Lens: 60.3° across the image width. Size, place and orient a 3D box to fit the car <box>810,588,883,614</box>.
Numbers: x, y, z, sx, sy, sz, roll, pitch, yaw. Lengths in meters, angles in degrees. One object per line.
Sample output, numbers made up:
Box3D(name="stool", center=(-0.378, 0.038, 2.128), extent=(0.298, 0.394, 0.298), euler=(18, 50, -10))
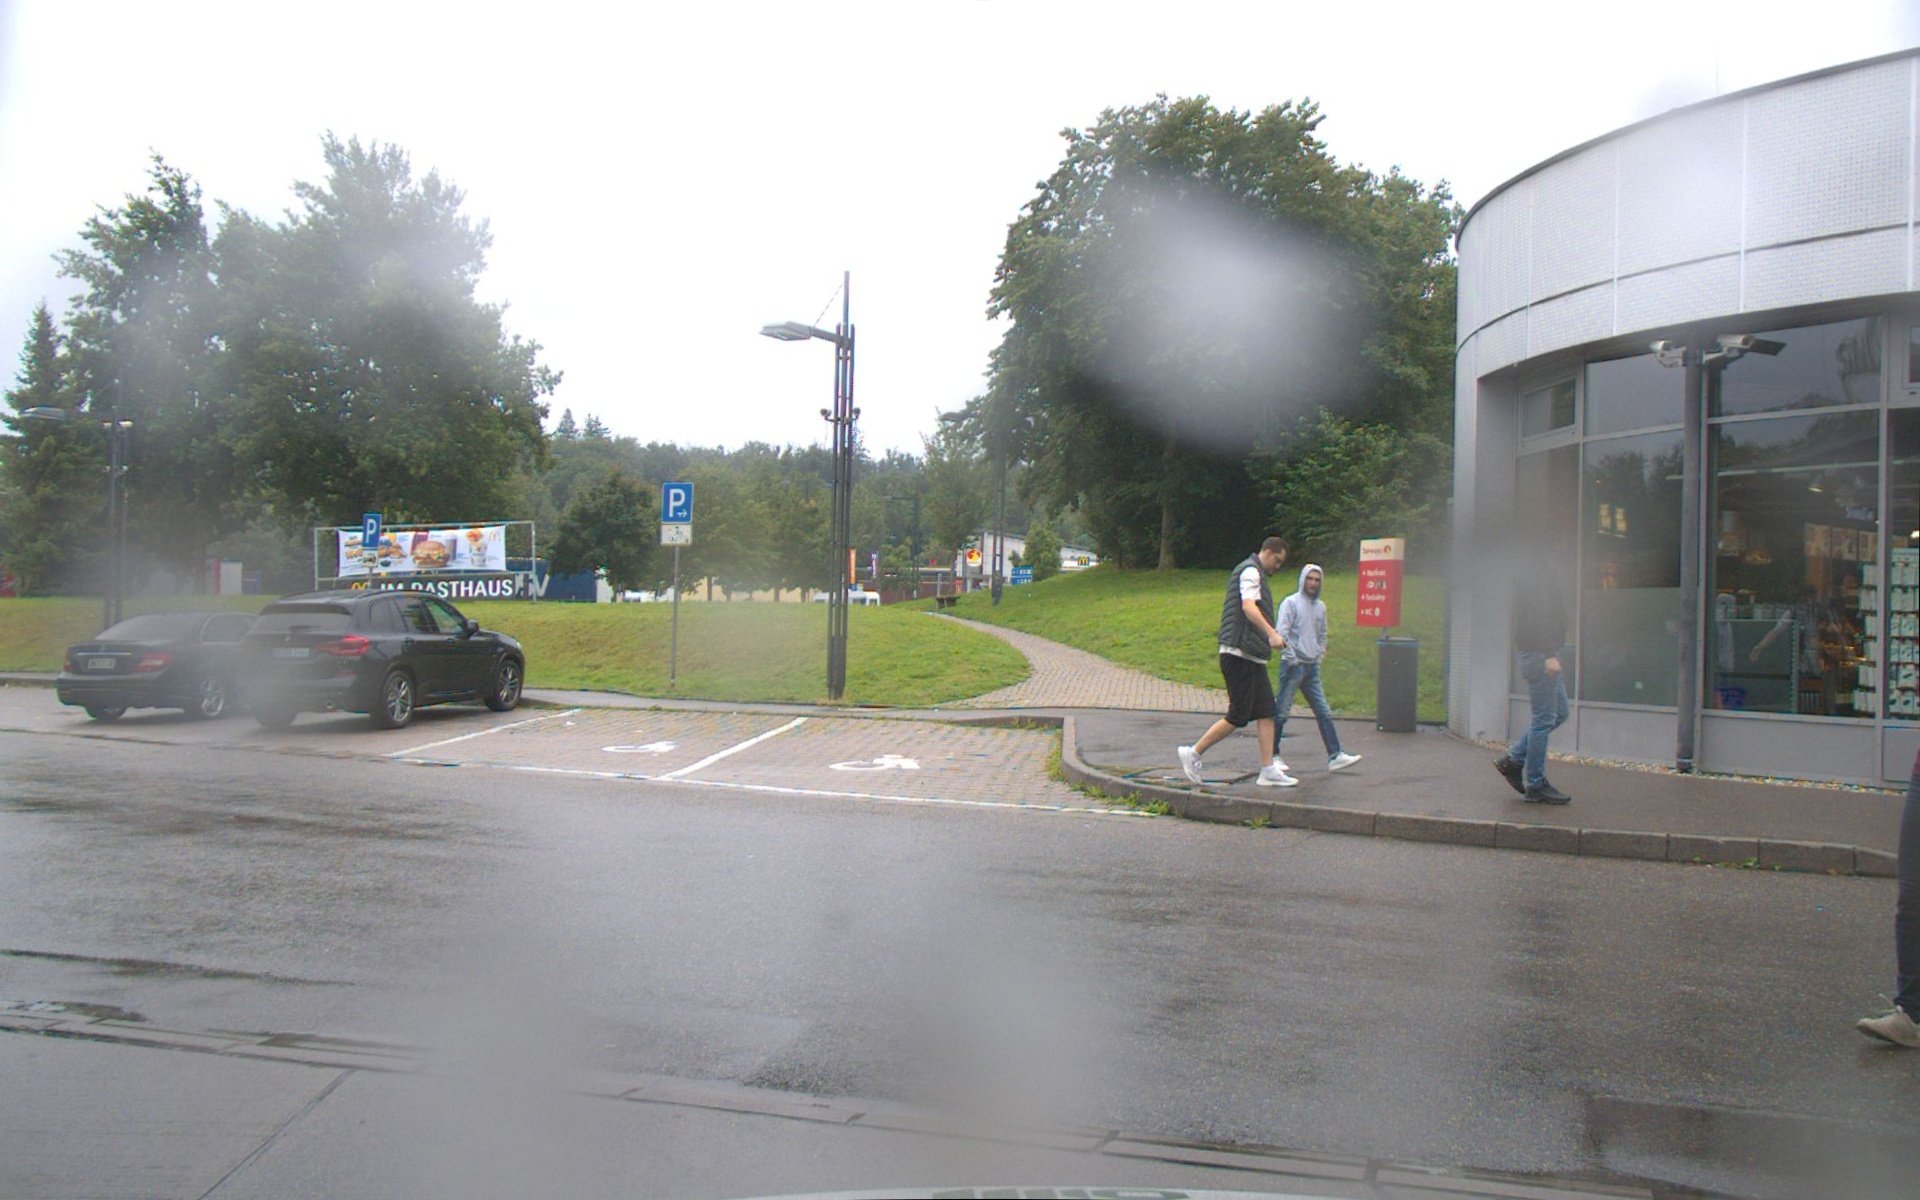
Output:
Box3D(name="car", center=(-9.145, 0.062, 133.653), extent=(5.310, 2.049, 2.456), euler=(1, 0, 19))

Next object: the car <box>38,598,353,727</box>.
Box3D(name="car", center=(-10.352, 0.780, 22.783), extent=(1.844, 1.592, 4.189), euler=(0, 0, 11))

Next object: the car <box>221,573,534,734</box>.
Box3D(name="car", center=(-7.327, 0.607, 21.343), extent=(1.844, 1.860, 4.417), euler=(0, 0, 11))

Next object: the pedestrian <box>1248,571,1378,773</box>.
Box3D(name="pedestrian", center=(2.862, 0.558, 13.396), extent=(0.872, 1.577, 0.659), euler=(0, 0, 29))

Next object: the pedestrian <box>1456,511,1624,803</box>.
Box3D(name="pedestrian", center=(3.978, 0.366, 11.324), extent=(0.979, 1.897, 0.798), euler=(0, 0, 28))

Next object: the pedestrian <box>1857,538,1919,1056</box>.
Box3D(name="pedestrian", center=(3.676, 0.672, 5.872), extent=(0.780, 1.765, 0.837), euler=(0, 0, 34))

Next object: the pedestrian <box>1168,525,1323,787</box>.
Box3D(name="pedestrian", center=(2.149, 0.398, 12.429), extent=(0.954, 1.880, 0.772), euler=(0, 0, 28))
